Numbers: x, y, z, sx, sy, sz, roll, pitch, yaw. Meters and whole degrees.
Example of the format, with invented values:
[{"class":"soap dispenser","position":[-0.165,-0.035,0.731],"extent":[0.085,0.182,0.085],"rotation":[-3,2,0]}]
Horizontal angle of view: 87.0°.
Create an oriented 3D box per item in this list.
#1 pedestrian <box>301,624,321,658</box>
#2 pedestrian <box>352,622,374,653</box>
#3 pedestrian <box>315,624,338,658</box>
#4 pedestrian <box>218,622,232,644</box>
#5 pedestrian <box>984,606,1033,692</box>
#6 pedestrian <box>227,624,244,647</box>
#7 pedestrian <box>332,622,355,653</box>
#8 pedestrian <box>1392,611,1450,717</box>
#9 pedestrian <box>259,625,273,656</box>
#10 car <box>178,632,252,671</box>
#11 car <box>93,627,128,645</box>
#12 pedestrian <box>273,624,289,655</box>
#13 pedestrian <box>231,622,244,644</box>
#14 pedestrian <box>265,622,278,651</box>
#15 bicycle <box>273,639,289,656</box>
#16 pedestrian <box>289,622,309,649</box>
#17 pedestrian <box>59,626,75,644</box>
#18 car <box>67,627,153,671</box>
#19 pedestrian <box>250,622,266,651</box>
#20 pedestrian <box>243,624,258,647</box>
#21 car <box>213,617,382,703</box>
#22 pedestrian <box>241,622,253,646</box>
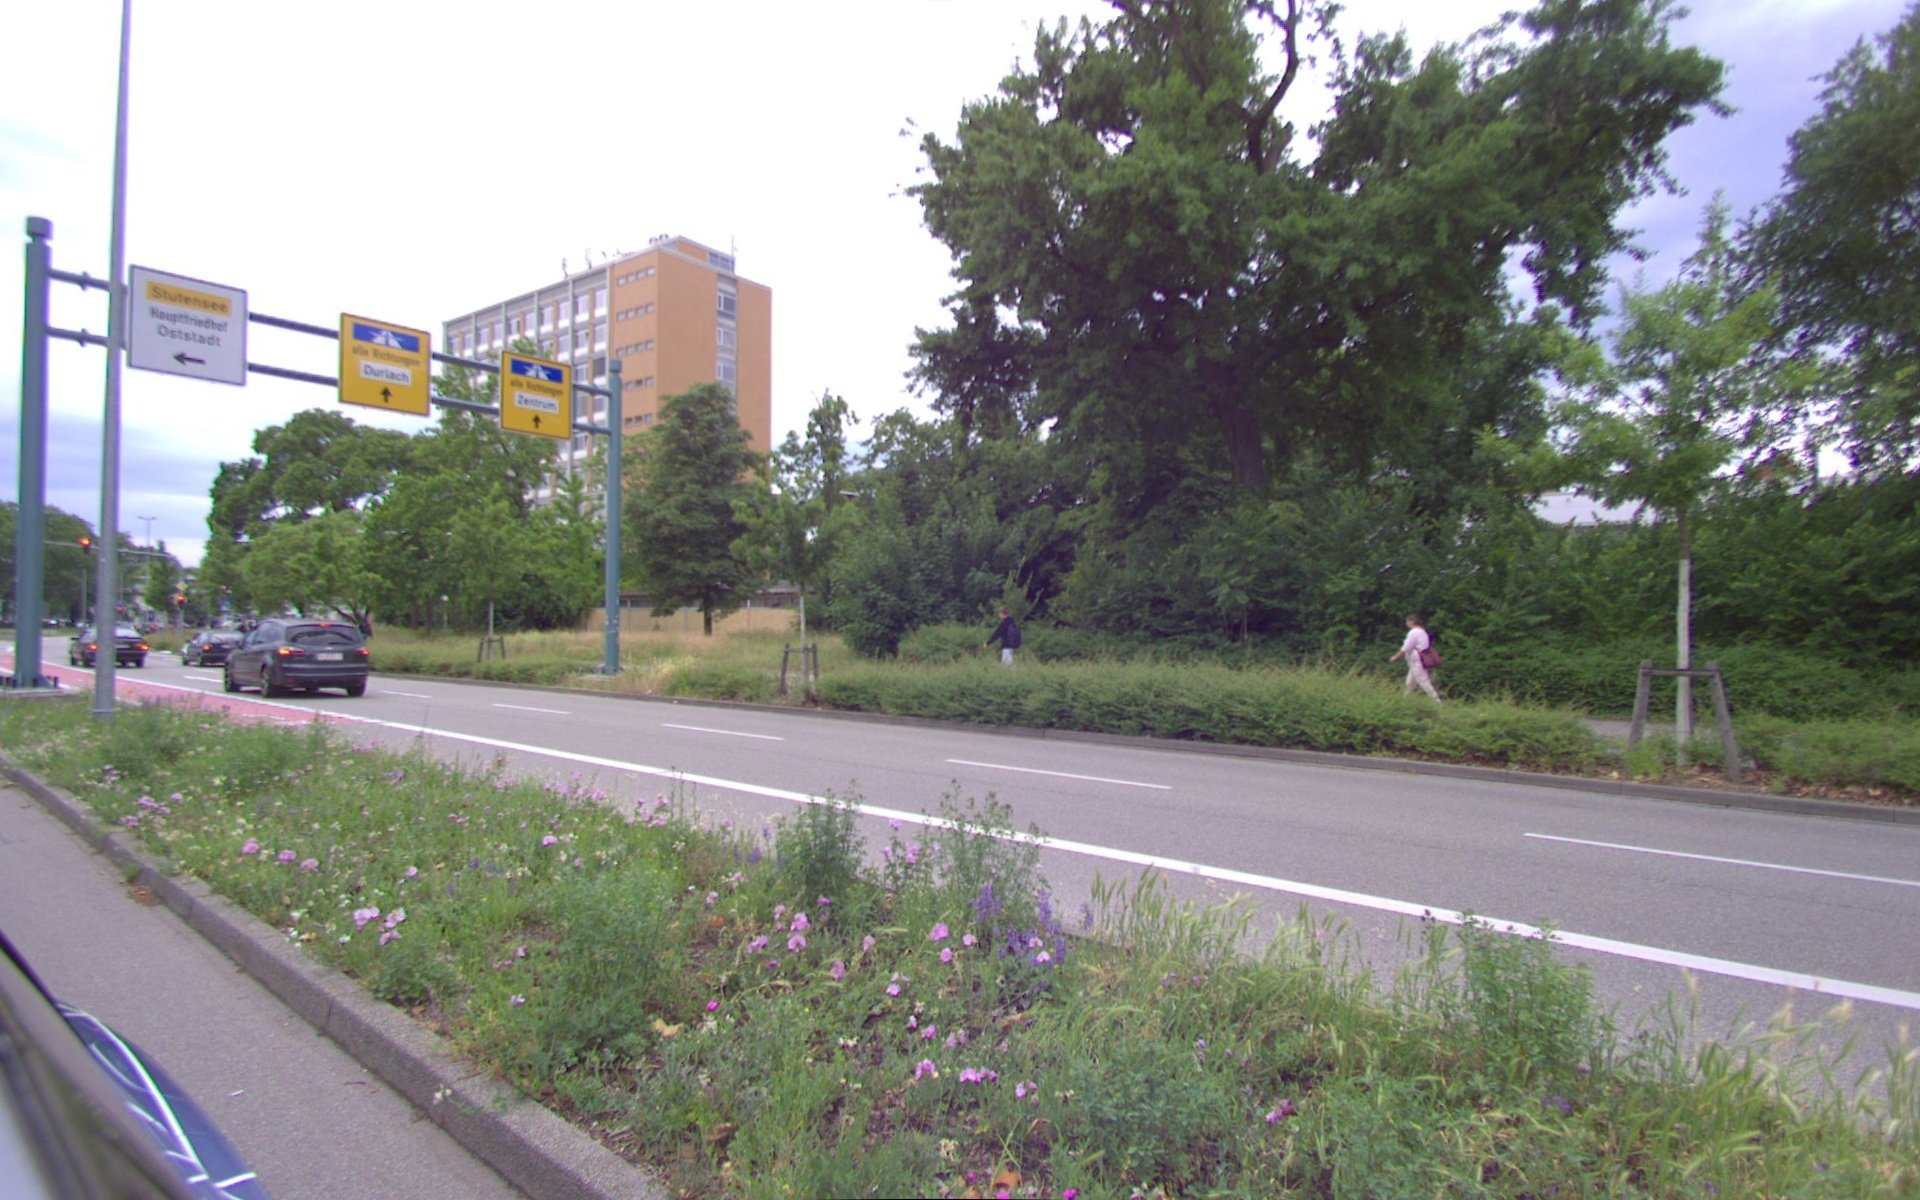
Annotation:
[{"class":"pedestrian","position":[-32.576,2.061,50.812],"extent":[0.719,1.673,0.580],"rotation":[-1,-4,35]},{"class":"pedestrian","position":[-27.470,1.727,46.587],"extent":[0.680,1.373,0.638],"rotation":[-2,-4,39]},{"class":"pedestrian","position":[-32.137,2.080,51.342],"extent":[0.766,1.685,0.700],"rotation":[-1,-4,35]},{"class":"pedestrian","position":[-56.940,2.552,78.414],"extent":[0.943,1.683,0.698],"rotation":[-2,-2,44]},{"class":"pedestrian","position":[1.014,1.023,21.127],"extent":[0.818,1.742,0.613],"rotation":[-2,-4,41]},{"class":"pedestrian","position":[-47.603,2.337,66.500],"extent":[0.813,1.491,0.720],"rotation":[-2,-4,44]},{"class":"pedestrian","position":[-28.083,1.717,46.102],"extent":[0.711,1.368,0.638],"rotation":[-2,-4,40]},{"class":"pedestrian","position":[7.448,1.027,16.359],"extent":[0.671,1.648,0.693],"rotation":[-2,-4,41]},{"class":"pedestrian","position":[-37.214,2.161,54.267],"extent":[0.567,1.621,0.618],"rotation":[3,-4,-33]},{"class":"car","position":[-28.517,1.960,38.712],"extent":[3.809,1.391,1.590],"rotation":[-2,-4,44]},{"class":"car","position":[-86.040,3.620,102.584],"extent":[1.785,1.680,3.962],"rotation":[2,-2,-27]},{"class":"pedestrian","position":[-36.797,2.147,54.870],"extent":[0.652,1.644,0.765],"rotation":[3,-4,-34]},{"class":"pedestrian","position":[-56.414,2.570,78.990],"extent":[0.890,1.683,0.698],"rotation":[-2,-1,45]},{"class":"pedestrian","position":[-42.162,2.249,61.984],"extent":[0.570,1.725,0.764],"rotation":[2,-3,-30]},{"class":"bicycle","position":[-36.801,2.548,54.849],"extent":[0.652,0.894,1.719],"rotation":[3,-3,-34]},{"class":"pedestrian","position":[-40.425,2.190,61.873],"extent":[0.823,1.625,0.631],"rotation":[-2,-1,19]},{"class":"pedestrian","position":[-105.542,4.133,119.640],"extent":[0.973,2.029,0.909],"rotation":[1,-3,-7]},{"class":"car","position":[-30.831,1.766,36.657],"extent":[4.792,1.471,1.744],"rotation":[-1,-4,43]},{"class":"pedestrian","position":[-42.641,2.214,61.476],"extent":[0.613,1.708,0.749],"rotation":[2,-3,-28]},{"class":"pedestrian","position":[-46.989,2.364,67.015],"extent":[0.762,1.491,0.628],"rotation":[-2,-4,44]},{"class":"car","position":[-14.420,1.243,21.940],"extent":[4.397,1.677,1.900],"rotation":[-1,-3,41]},{"class":"pedestrian","position":[-53.088,2.531,75.358],"extent":[0.762,1.815,0.630],"rotation":[-2,-3,44]}]
